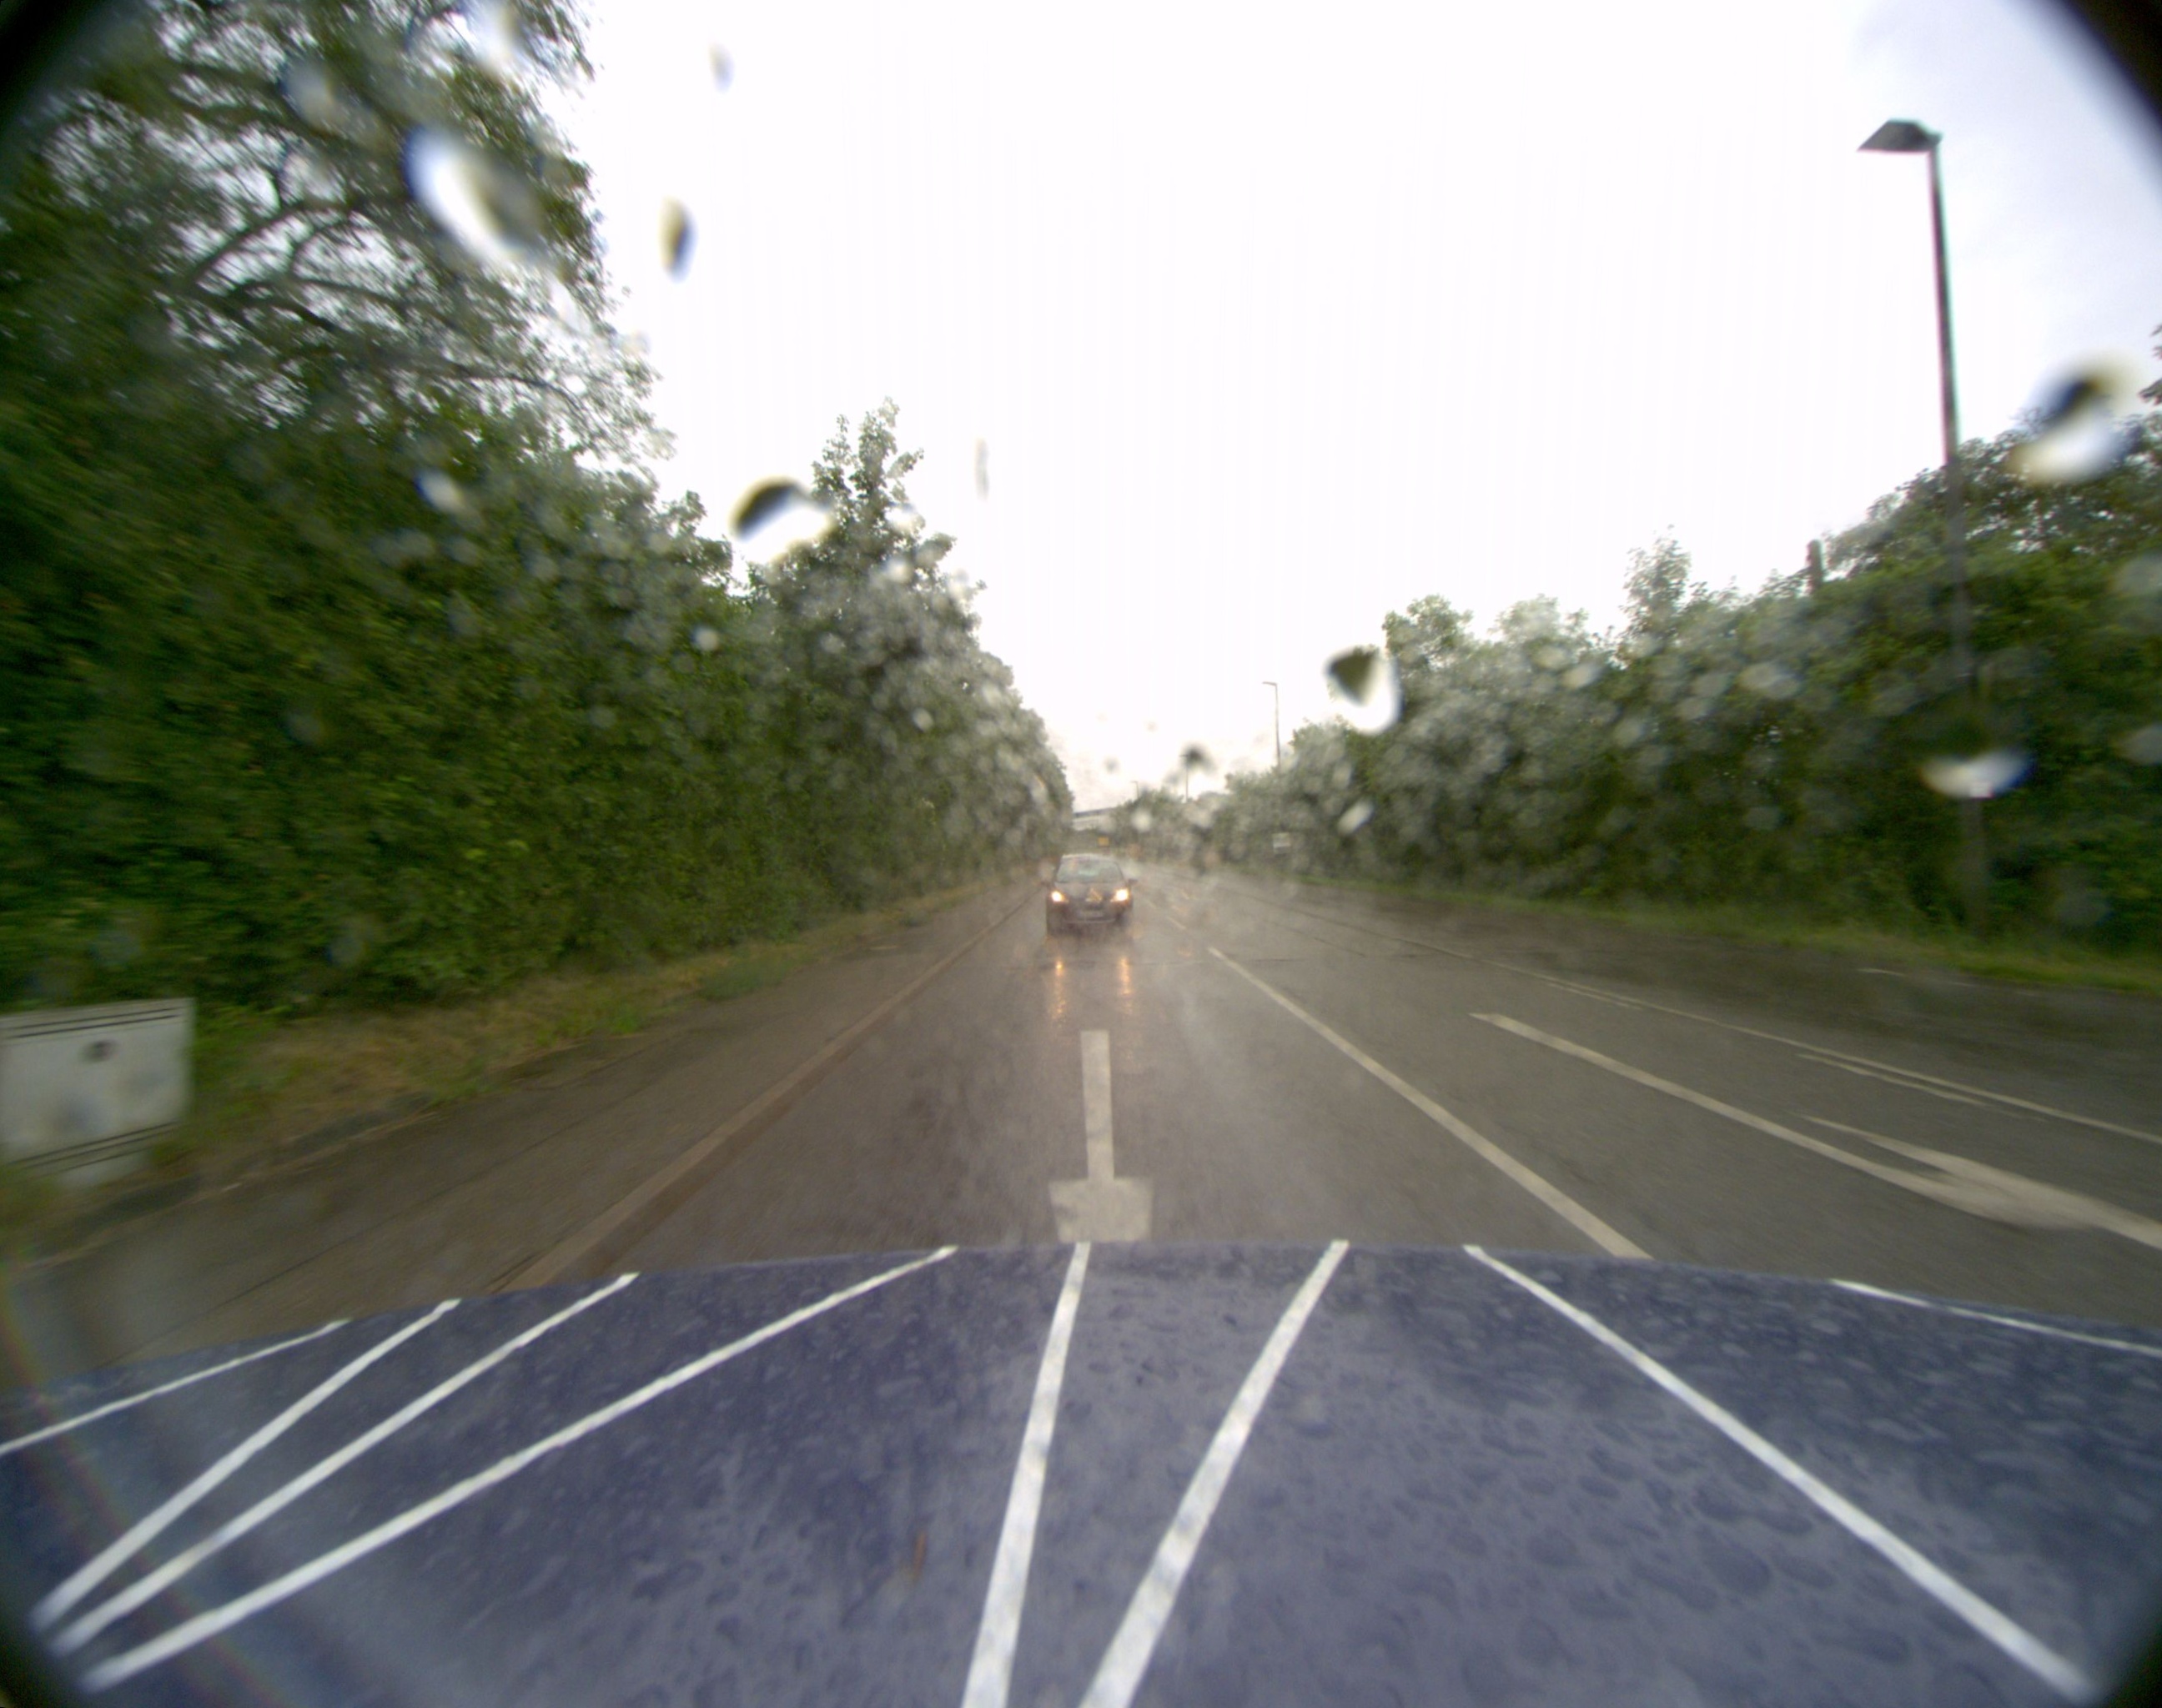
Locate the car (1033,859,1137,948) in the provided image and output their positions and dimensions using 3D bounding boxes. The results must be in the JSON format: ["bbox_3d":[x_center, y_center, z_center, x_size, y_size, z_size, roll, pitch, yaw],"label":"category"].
[{"bbox_3d":[0.102,0.911,15.904,1.839,1.404,4.341,-2,2,1],"label":"car"}]

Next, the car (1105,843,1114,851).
[{"bbox_3d":[6.179,-1.565,165.522,1.998,1.576,3.999,-2,2,1],"label":"car"}]
